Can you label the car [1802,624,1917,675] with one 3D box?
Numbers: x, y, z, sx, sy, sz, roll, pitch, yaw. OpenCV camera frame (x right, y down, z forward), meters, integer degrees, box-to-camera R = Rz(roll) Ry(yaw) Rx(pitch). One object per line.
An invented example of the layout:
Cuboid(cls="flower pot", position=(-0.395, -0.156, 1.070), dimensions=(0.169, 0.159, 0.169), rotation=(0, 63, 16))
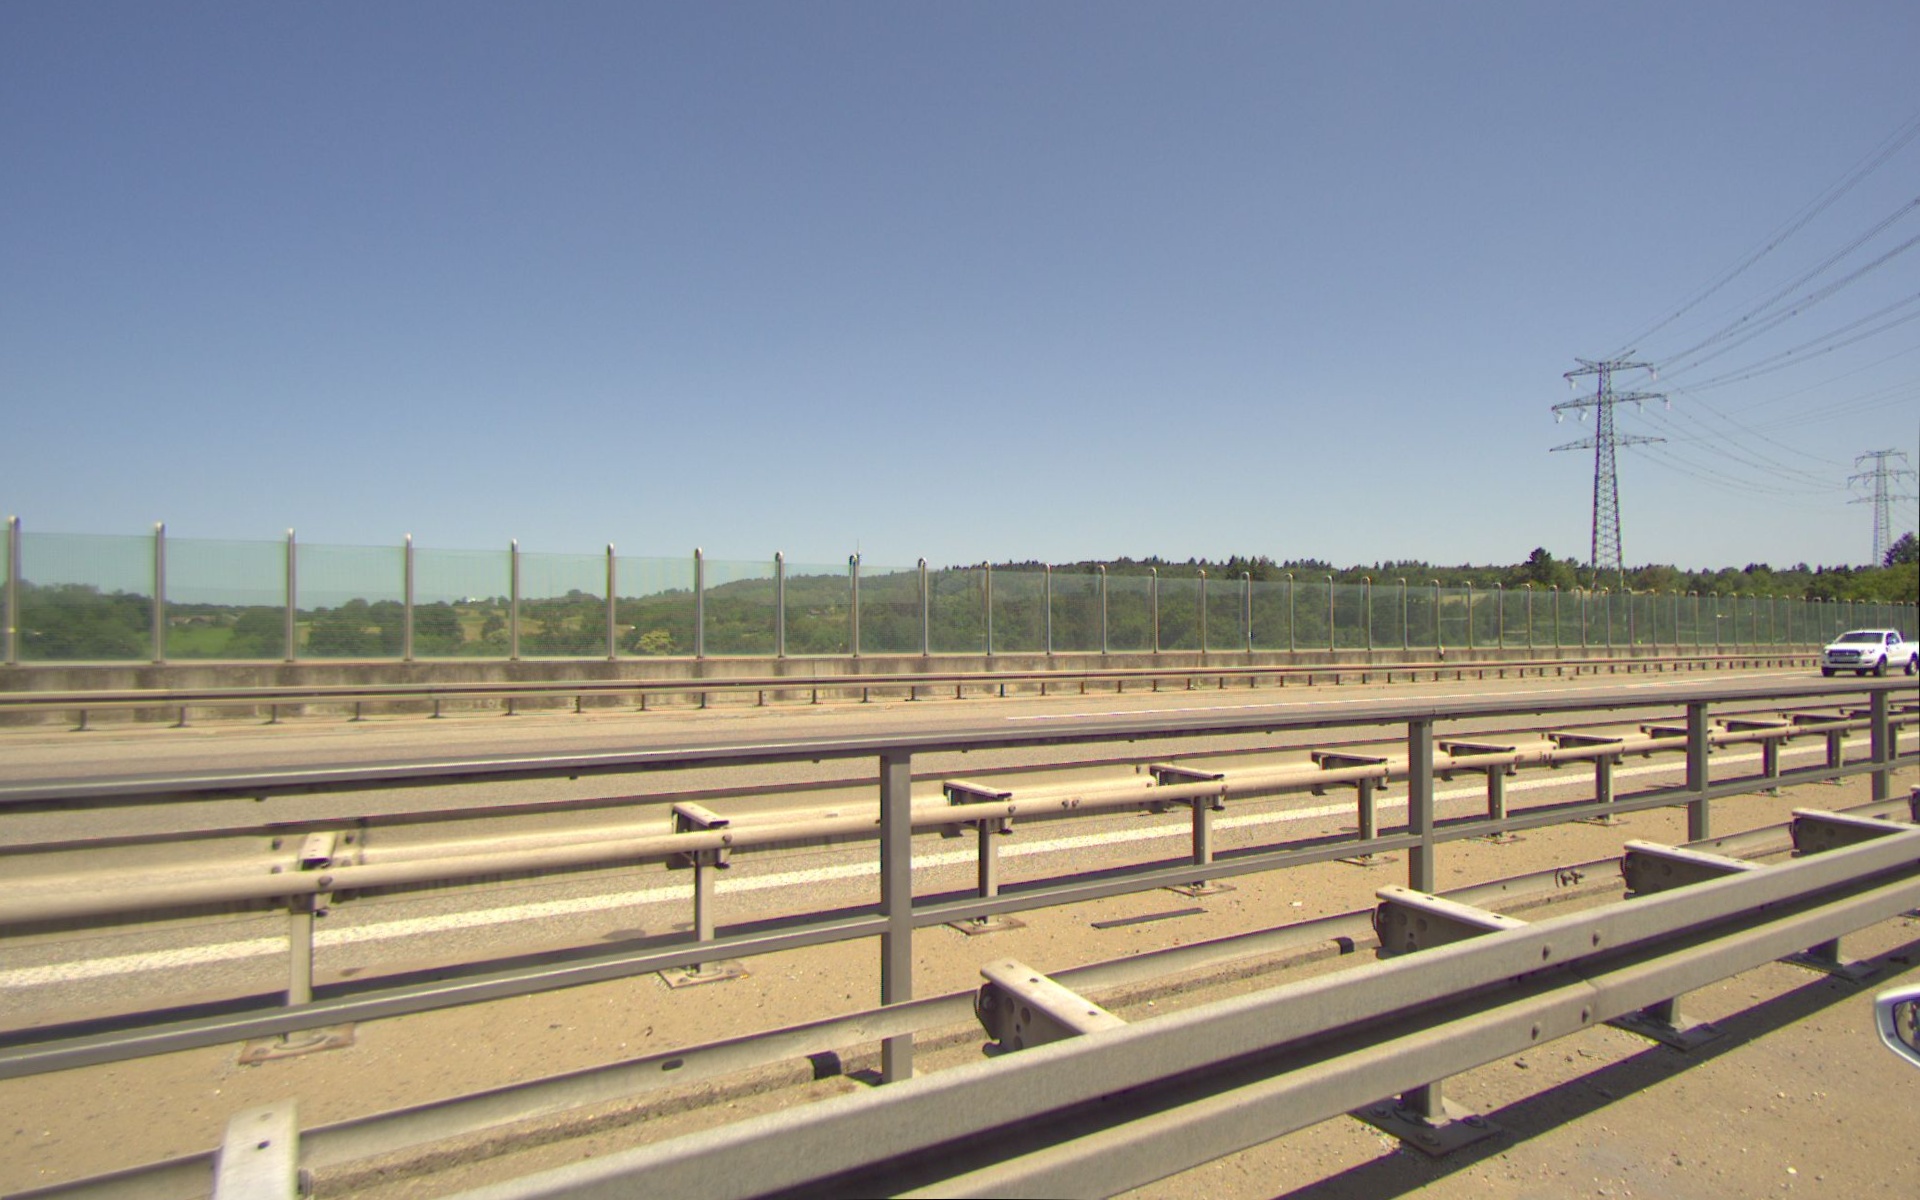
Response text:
Cuboid(cls="car", position=(35.830, 1.928, 39.989), dimensions=(5.195, 1.910, 1.984), rotation=(1, -1, -31))
